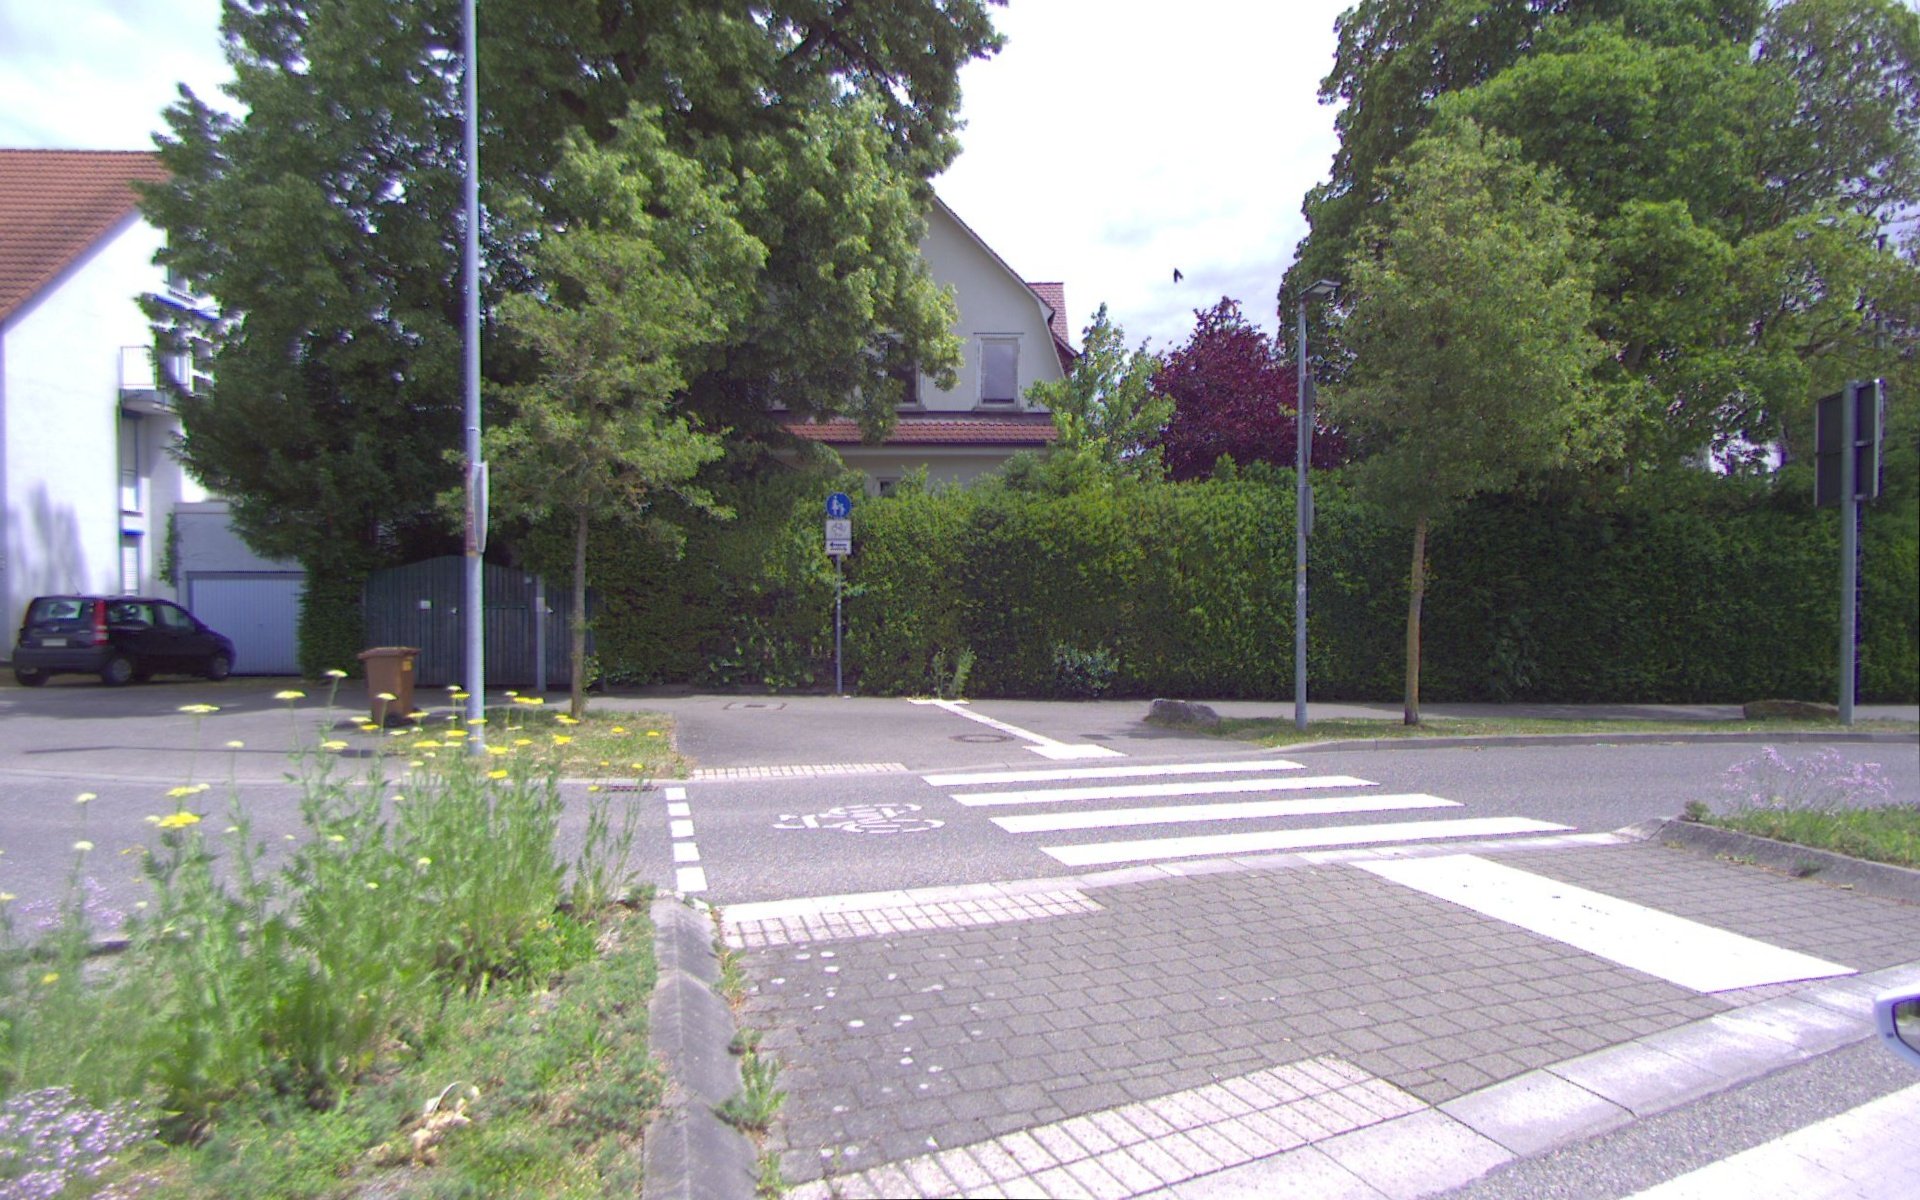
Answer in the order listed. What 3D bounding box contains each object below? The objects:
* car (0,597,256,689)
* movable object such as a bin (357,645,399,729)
[{"bbox_3d":[-14.447,0.766,17.651,1.633,1.415,3.579,1,-3,-1],"label":"car"},{"bbox_3d":[-6.846,1.017,11.821,0.407,0.947,0.438,1,-1,-30],"label":"movable object such as a bin"}]
